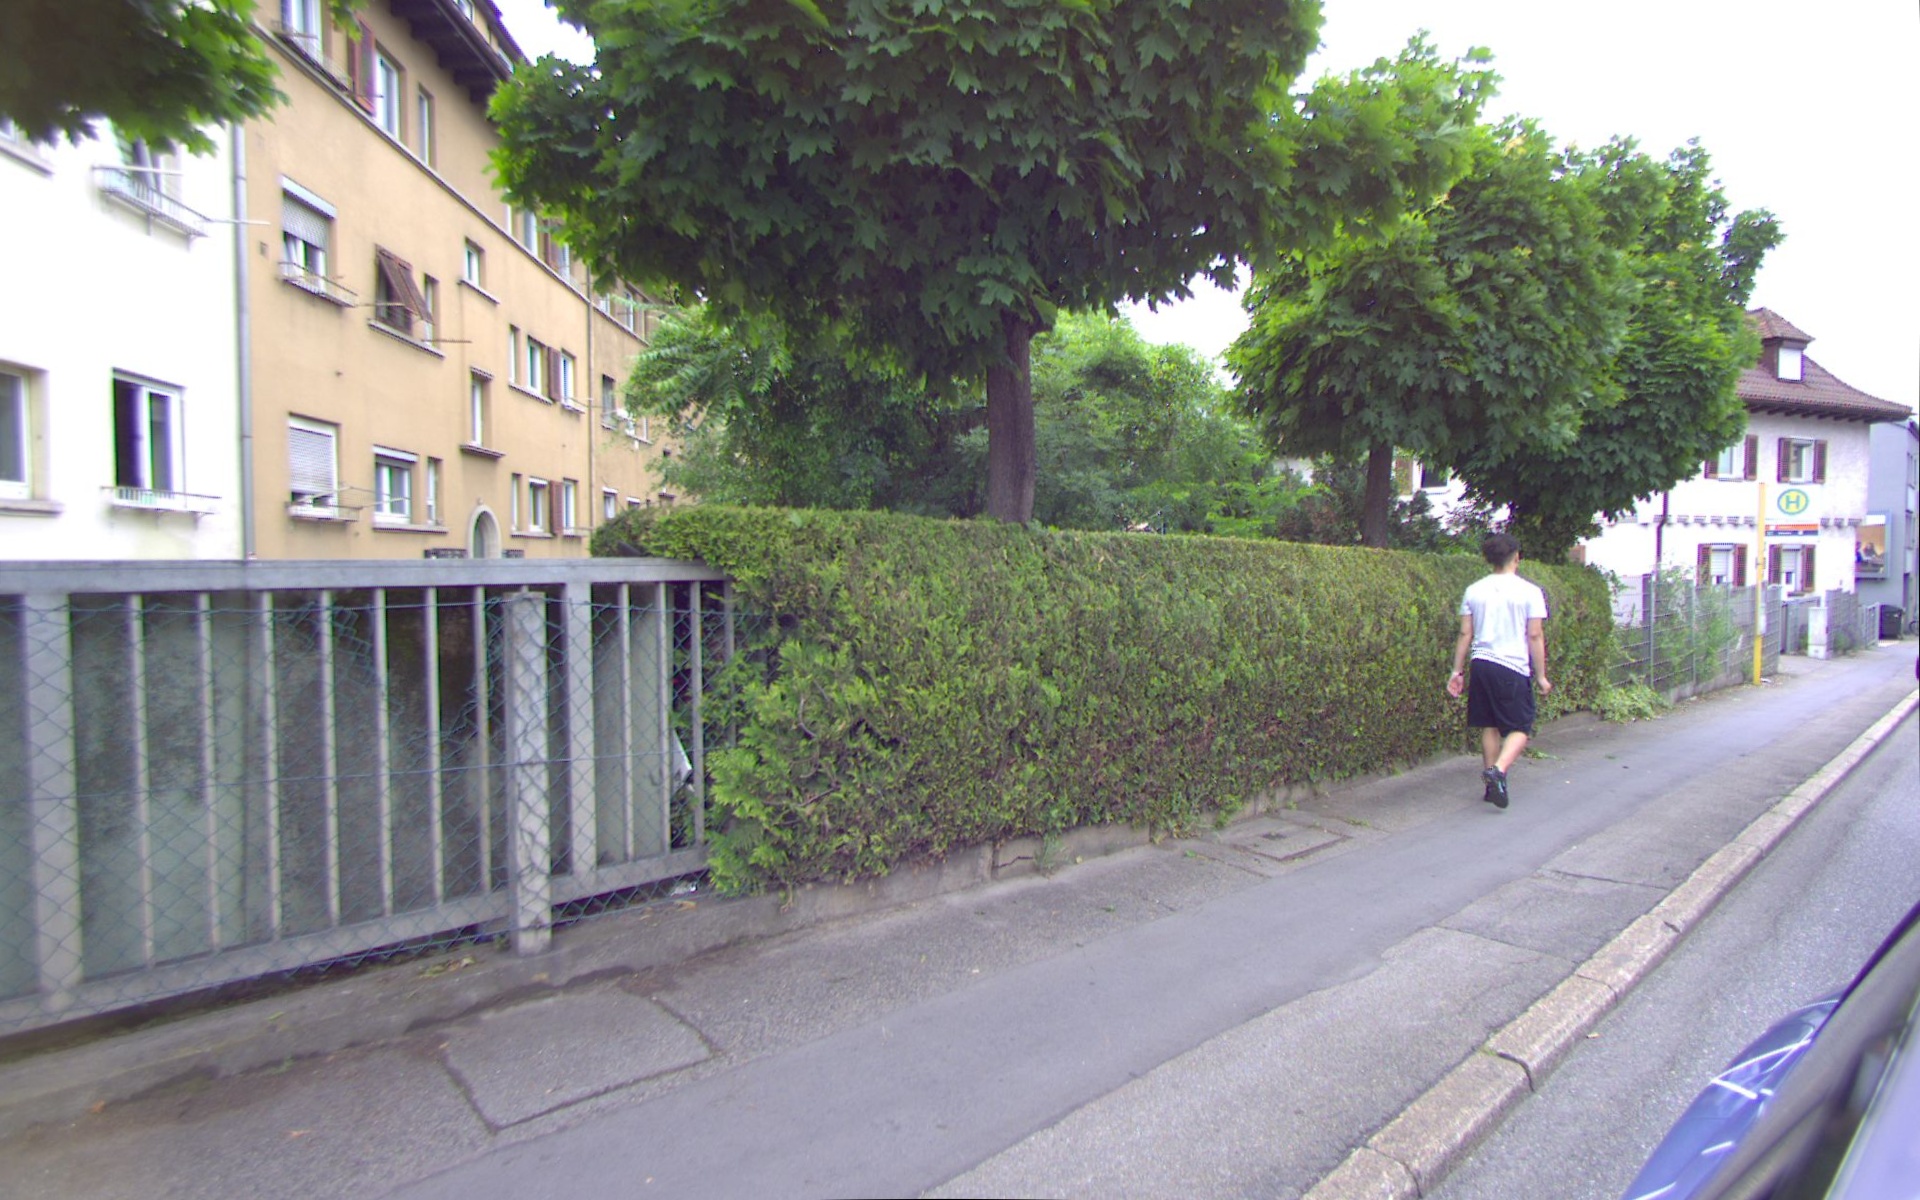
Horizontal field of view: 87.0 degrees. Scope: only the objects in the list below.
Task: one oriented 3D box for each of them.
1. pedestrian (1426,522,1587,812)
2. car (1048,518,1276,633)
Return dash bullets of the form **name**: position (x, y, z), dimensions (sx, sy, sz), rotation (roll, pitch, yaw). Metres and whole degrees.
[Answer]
- **pedestrian**: position (3.535, 0.395, 6.569), dimensions (0.459, 1.758, 0.695), rotation (0, 4, -42)
- **car**: position (3.808, -0.466, 19.631), dimensions (3.923, 2.039, 2.001), rotation (1, 1, -1)
